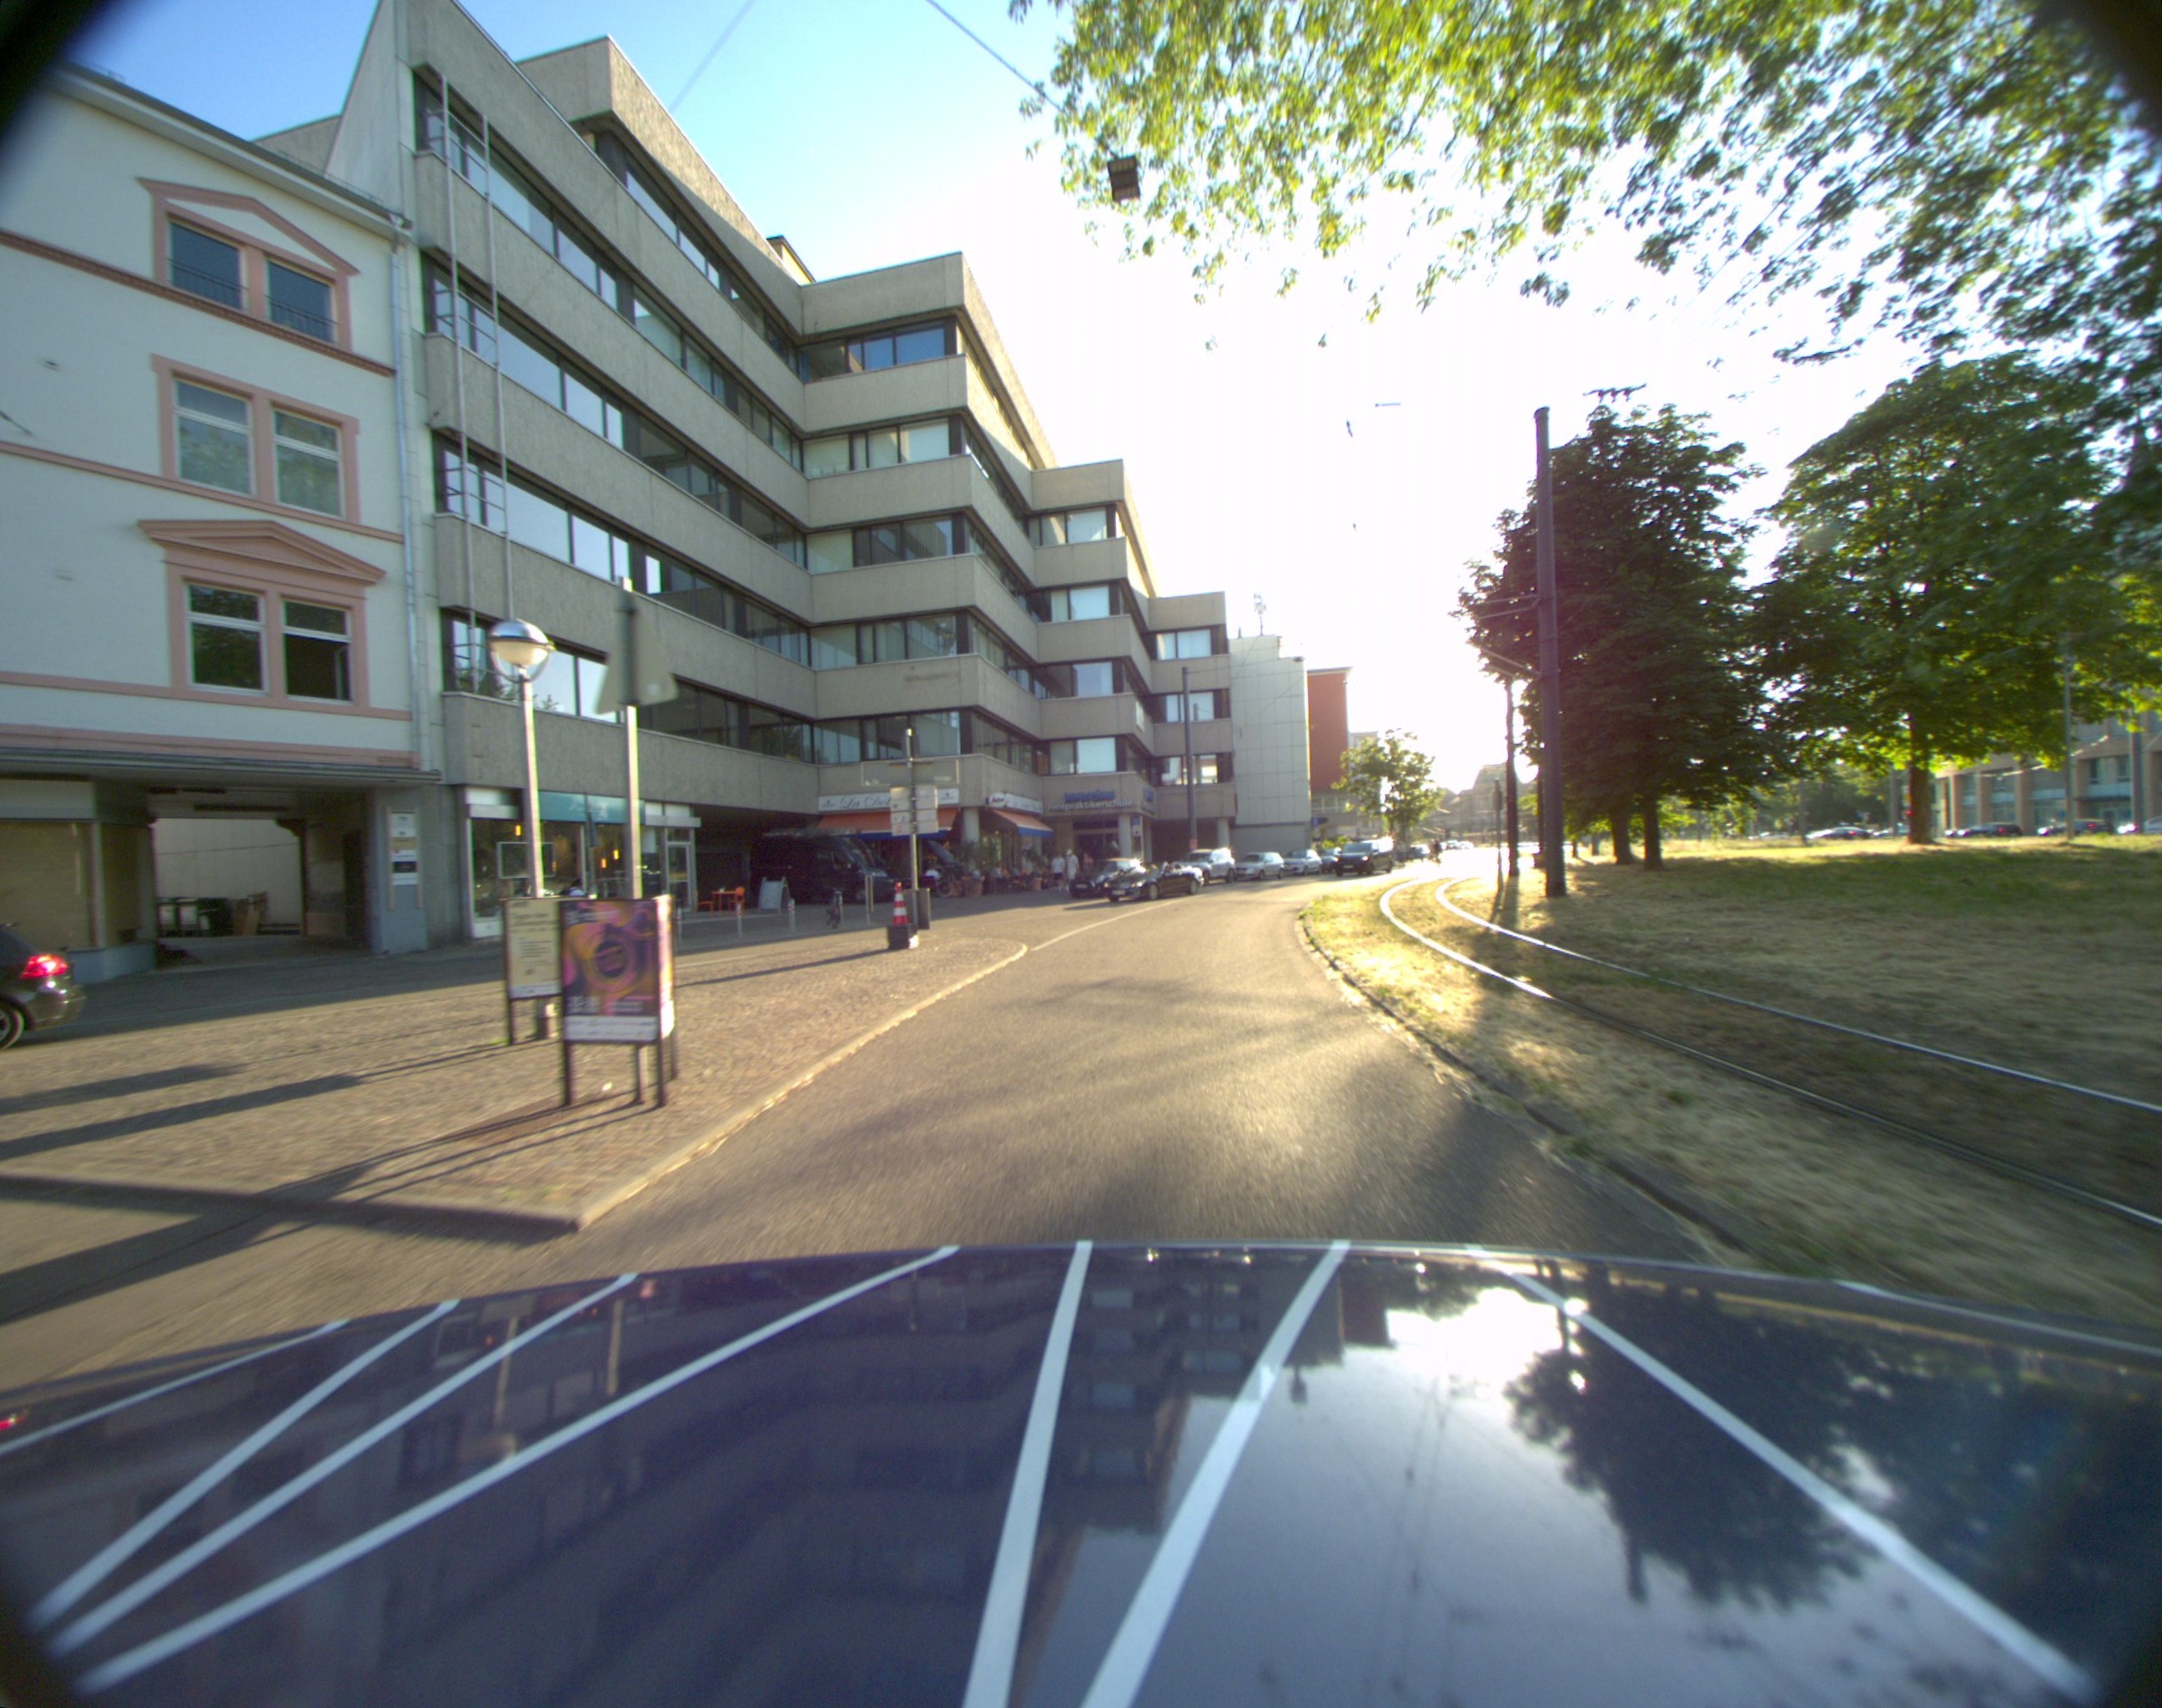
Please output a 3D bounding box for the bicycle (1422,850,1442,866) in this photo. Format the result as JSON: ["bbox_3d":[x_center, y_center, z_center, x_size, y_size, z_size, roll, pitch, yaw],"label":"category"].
[{"bbox_3d":[24.733,0.278,53.536,0.871,1.090,1.853,-3,1,37],"label":"bicycle"}]

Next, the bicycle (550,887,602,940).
[{"bbox_3d":[-12.596,1.466,18.979,0.487,1.185,1.426,-3,0,-10],"label":"bicycle"}]

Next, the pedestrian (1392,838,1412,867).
[{"bbox_3d":[22.814,-0.098,53.987,0.933,1.961,1.275,-2,1,41],"label":"pedestrian"}]

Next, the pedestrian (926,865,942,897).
[{"bbox_3d":[-5.672,1.043,29.351,0.461,1.188,0.421,2,2,14],"label":"pedestrian"}]

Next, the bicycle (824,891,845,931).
[{"bbox_3d":[-6.556,1.495,20.194,0.303,0.987,1.292,-4,1,-25],"label":"bicycle"}]

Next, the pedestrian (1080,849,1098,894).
[{"bbox_3d":[0.332,0.724,31.644,0.532,1.828,0.501,3,2,26],"label":"pedestrian"}]

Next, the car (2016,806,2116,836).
[{"bbox_3d":[72.880,-2.375,56.338,1.997,2.002,4.552,-3,0,11],"label":"car"}]

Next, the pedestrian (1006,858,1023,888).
[{"bbox_3d":[-2.995,0.856,34.274,0.611,1.313,0.592,-2,1,5],"label":"pedestrian"}]

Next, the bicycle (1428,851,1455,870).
[{"bbox_3d":[22.825,0.384,48.088,0.933,1.070,2.225,-3,1,41],"label":"bicycle"}]

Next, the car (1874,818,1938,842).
[{"bbox_3d":[75.969,-2.211,70.041,1.997,2.002,4.003,-3,0,11],"label":"car"}]

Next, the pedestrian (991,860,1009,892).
[{"bbox_3d":[-3.406,0.938,32.137,0.611,1.313,0.560,-2,1,5],"label":"pedestrian"}]

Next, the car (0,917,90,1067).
[{"bbox_3d":[-13.002,1.569,7.289,1.932,1.477,4.170,-3,0,38],"label":"car"}]

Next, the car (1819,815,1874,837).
[{"bbox_3d":[78.037,-2.805,77.567,1.997,2.002,4.003,-3,0,11],"label":"car"}]

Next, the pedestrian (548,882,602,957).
[{"bbox_3d":[-10.910,1.392,16.387,0.568,1.528,0.794,0,3,41],"label":"pedestrian"}]

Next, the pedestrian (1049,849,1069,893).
[{"bbox_3d":[-0.943,0.721,32.599,0.619,1.828,0.537,3,2,26],"label":"pedestrian"}]

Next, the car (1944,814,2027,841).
[{"bbox_3d":[74.676,-2.152,62.851,1.997,2.002,4.552,-3,0,11],"label":"car"}]

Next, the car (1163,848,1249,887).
[{"bbox_3d":[6.135,0.638,36.972,1.995,1.596,4.532,-3,0,41],"label":"car"}]

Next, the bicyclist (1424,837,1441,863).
[{"bbox_3d":[24.800,-0.270,53.657,0.859,1.773,0.988,-1,1,38],"label":"bicyclist"}]

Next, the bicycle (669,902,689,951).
[{"bbox_3d":[-9.122,1.623,17.254,0.303,0.987,1.292,-4,1,-25],"label":"bicycle"}]

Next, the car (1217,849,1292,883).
[{"bbox_3d":[9.390,0.620,40.924,1.995,1.596,4.532,-3,0,41],"label":"car"}]

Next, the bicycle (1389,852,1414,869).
[{"bbox_3d":[22.719,0.431,53.854,0.954,1.070,2.225,-3,1,41],"label":"bicycle"}]

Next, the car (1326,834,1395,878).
[{"bbox_3d":[15.428,0.077,41.825,1.995,2.143,4.532,-3,1,41],"label":"car"}]

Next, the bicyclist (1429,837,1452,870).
[{"bbox_3d":[22.682,-0.043,47.942,0.922,1.962,1.115,-3,1,41],"label":"bicyclist"}]

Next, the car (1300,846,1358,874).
[{"bbox_3d":[16.318,0.354,49.900,1.995,1.596,4.532,-3,0,41],"label":"car"}]

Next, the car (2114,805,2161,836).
[{"bbox_3d":[71.926,-2.271,50.074,1.997,2.002,4.552,-3,0,11],"label":"car"}]

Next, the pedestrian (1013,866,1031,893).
[{"bbox_3d":[-2.455,1.077,31.750,0.611,1.081,0.560,-2,1,5],"label":"pedestrian"}]

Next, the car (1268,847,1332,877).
[{"bbox_3d":[13.361,0.458,46.183,1.995,1.596,4.532,-3,0,41],"label":"car"}]

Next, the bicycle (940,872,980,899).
[{"bbox_3d":[-4.580,1.192,28.844,1.447,0.987,0.530,-1,2,-13],"label":"bicycle"}]

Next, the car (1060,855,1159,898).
[{"bbox_3d":[1.194,0.848,30.145,1.790,1.433,4.007,-3,0,39],"label":"car"}]

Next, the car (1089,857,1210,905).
[{"bbox_3d":[2.529,0.914,27.236,1.995,1.386,4.532,-3,0,41],"label":"car"}]

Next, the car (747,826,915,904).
[{"bbox_3d":[-9.168,0.402,28.082,5.425,2.711,2.183,-1,1,11],"label":"car"}]

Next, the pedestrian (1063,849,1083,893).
[{"bbox_3d":[-0.329,0.693,32.159,0.572,1.828,0.605,3,2,26],"label":"pedestrian"}]
